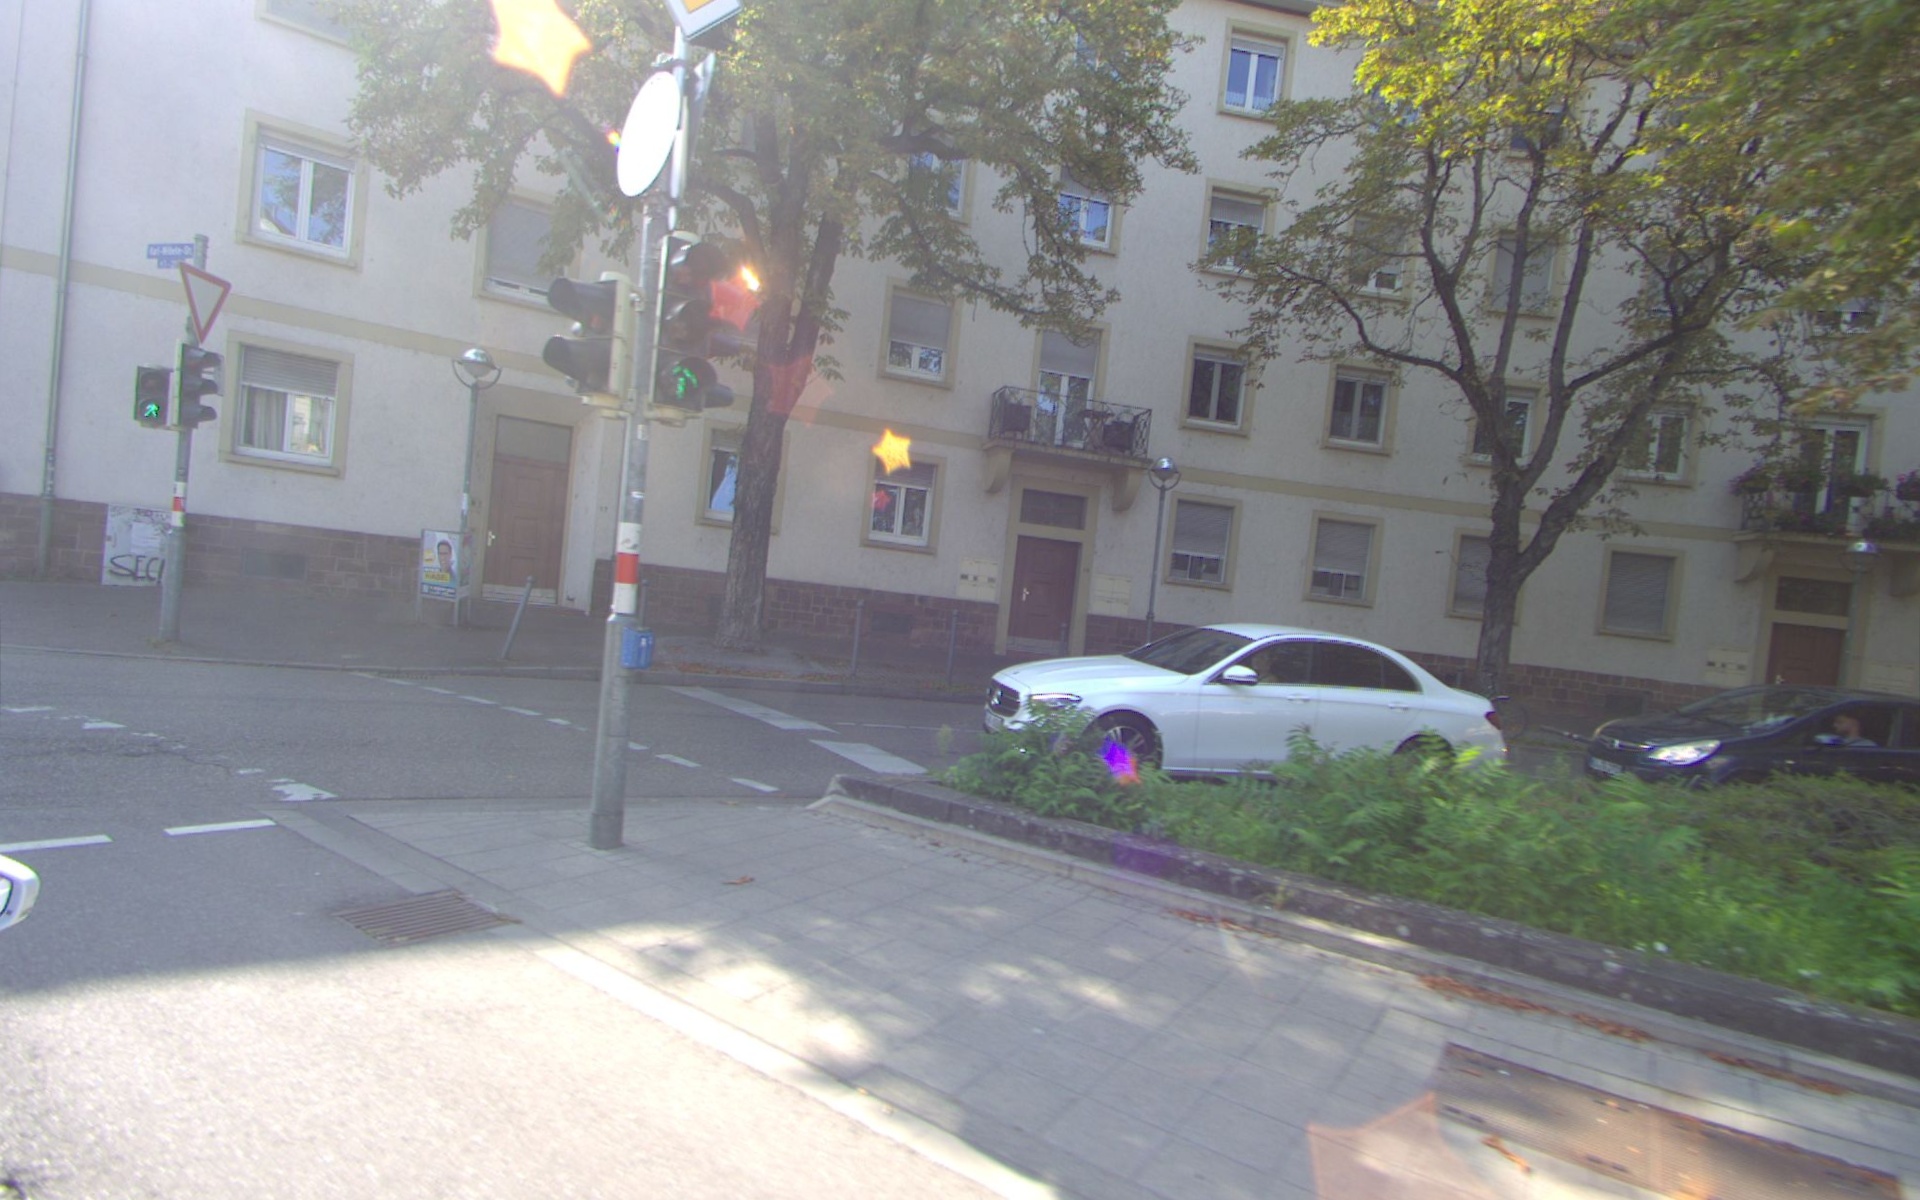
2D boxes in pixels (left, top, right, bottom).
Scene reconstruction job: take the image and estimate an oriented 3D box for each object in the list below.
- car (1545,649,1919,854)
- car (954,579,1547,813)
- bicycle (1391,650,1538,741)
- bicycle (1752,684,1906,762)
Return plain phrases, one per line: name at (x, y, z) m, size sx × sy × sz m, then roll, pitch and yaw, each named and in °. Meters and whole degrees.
car at (8.439, 1.534, 10.214) m, size 3.818 × 1.471 × 1.749 m, roll 7°, pitch 3°, yaw 0°
car at (2.594, 0.864, 9.290) m, size 4.876 × 1.489 × 1.868 m, roll 6°, pitch 4°, yaw -15°
bicycle at (7.721, 1.458, 15.441) m, size 1.805 × 1.072 × 0.608 m, roll 9°, pitch 2°, yaw 2°
bicycle at (14.860, 2.092, 17.247) m, size 1.873 × 1.020 × 0.534 m, roll 7°, pitch 2°, yaw 14°
